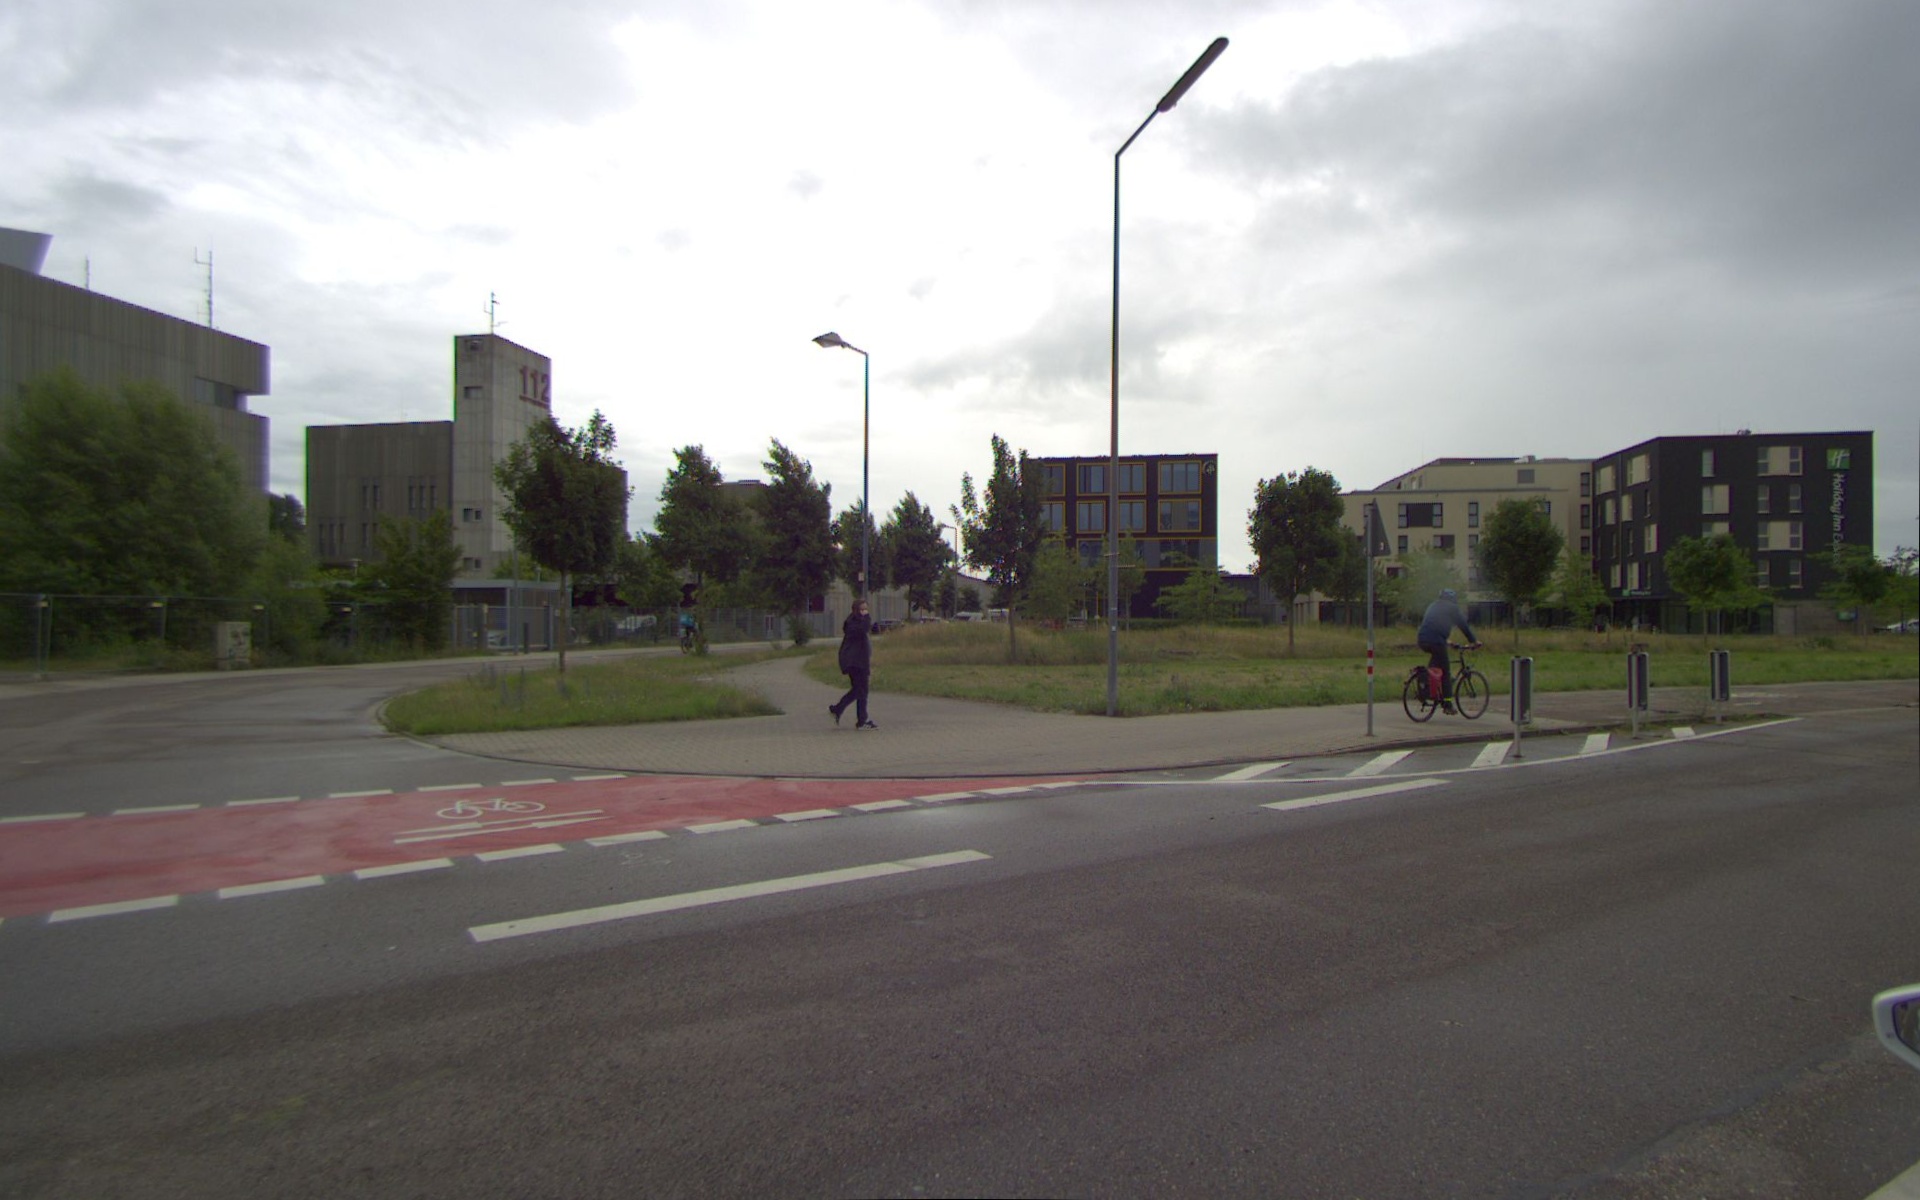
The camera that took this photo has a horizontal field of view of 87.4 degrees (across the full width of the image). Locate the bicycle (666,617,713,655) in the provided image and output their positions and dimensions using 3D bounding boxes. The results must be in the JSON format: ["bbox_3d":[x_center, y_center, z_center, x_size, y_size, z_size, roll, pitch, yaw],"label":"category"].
[{"bbox_3d":[-11.944,1.587,44.492,1.064,1.605,2.502,-1,-1,9],"label":"bicycle"}]

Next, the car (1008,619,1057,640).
[{"bbox_3d":[6.031,2.460,82.999,3.919,1.543,2.002,-2,-2,5],"label":"car"}]

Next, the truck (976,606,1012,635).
[{"bbox_3d":[3.485,2.073,101.248,2.782,2.742,7.324,-2,-1,9],"label":"truck"}]

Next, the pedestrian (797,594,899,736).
[{"bbox_3d":[-1.501,0.841,13.451,1.066,1.806,0.838,-1,-1,-35],"label":"pedestrian"}]

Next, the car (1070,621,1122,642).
[{"bbox_3d":[10.743,2.510,79.467,3.919,1.543,2.002,-2,-2,5],"label":"car"}]

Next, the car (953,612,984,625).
[{"bbox_3d":[1.216,2.640,141.251,4.170,1.795,2.001,-1,-1,4],"label":"car"}]

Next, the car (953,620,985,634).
[{"bbox_3d":[1.271,3.685,136.706,4.170,1.795,2.001,-1,-1,4],"label":"car"}]

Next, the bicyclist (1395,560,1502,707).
[{"bbox_3d":[7.108,0.471,14.617,1.163,2.040,0.858,-1,-1,-30],"label":"bicyclist"}]

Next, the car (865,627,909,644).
[{"bbox_3d":[-7.140,3.529,98.521,3.919,1.543,2.002,-2,-2,5],"label":"car"}]

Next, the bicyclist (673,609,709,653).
[{"bbox_3d":[-11.918,1.366,44.541,1.055,1.924,1.403,-1,-1,9],"label":"bicyclist"}]

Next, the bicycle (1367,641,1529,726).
[{"bbox_3d":[7.117,1.177,14.604,2.439,1.066,0.880,-1,-1,-29],"label":"bicycle"}]

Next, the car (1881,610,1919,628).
[{"bbox_3d":[84.941,1.687,89.390,4.070,1.537,2.001,-1,-1,3],"label":"car"}]

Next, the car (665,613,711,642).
[{"bbox_3d":[-20.146,2.029,74.527,1.960,2.040,4.002,-1,-1,5],"label":"car"}]

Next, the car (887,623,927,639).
[{"bbox_3d":[-5.581,3.286,106.171,3.919,1.543,1.812,-2,-2,5],"label":"car"}]
